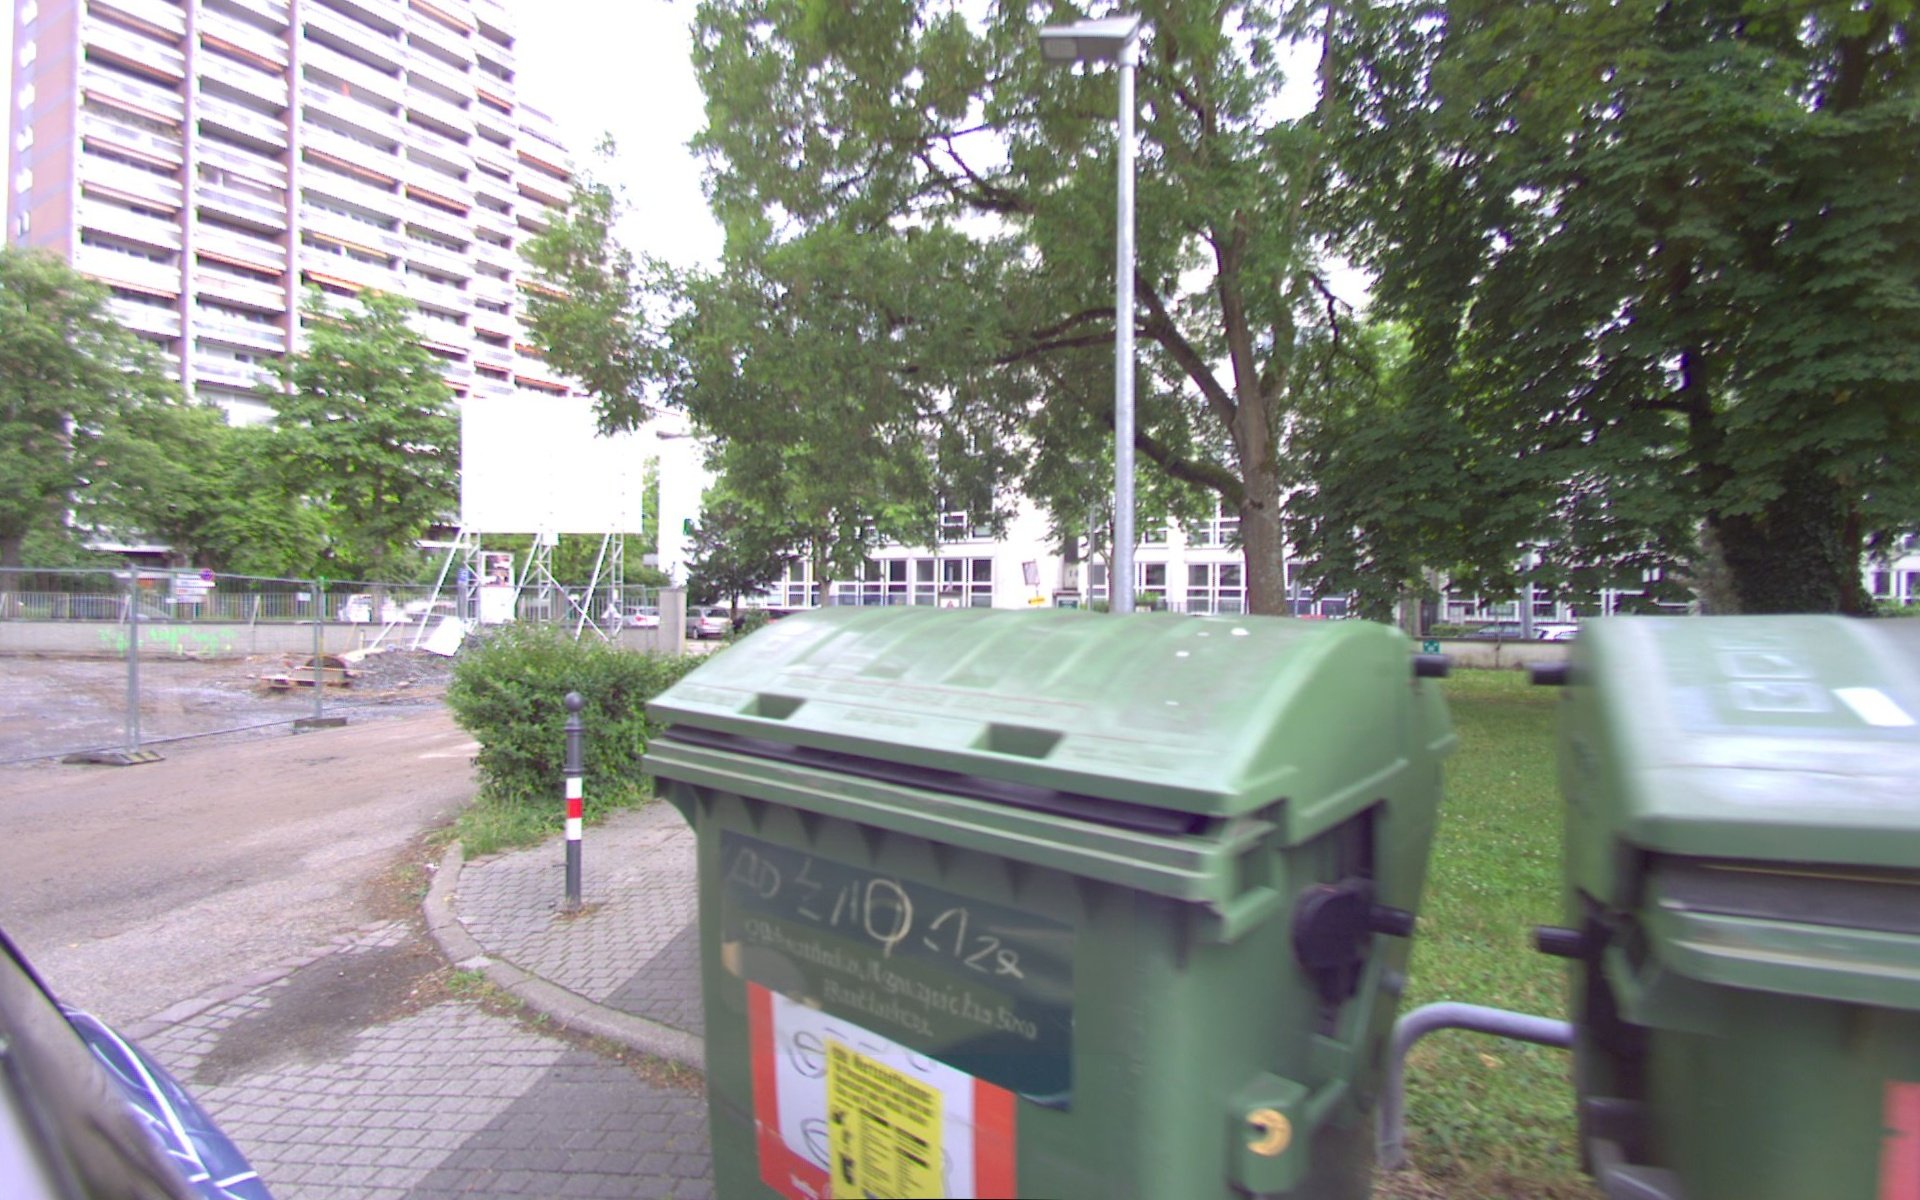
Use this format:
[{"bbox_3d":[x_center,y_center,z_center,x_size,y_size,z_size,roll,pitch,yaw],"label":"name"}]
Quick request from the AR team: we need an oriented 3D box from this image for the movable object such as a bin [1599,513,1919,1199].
[{"bbox_3d":[1.485,0.675,1.000,1.347,1.467,1.046,1,0,28],"label":"movable object such as a bin"}]

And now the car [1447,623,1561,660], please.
[{"bbox_3d":[23.269,1.760,43.395,1.673,1.362,3.976,0,1,-39],"label":"car"}]

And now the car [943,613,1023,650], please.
[{"bbox_3d":[0.985,1.366,45.686,1.671,1.495,4.041,1,1,-32],"label":"car"}]

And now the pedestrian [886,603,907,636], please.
[{"bbox_3d":[-3.167,0.966,50.764,0.752,1.623,0.727,3,1,27],"label":"pedestrian"}]

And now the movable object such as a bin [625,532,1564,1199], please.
[{"bbox_3d":[0.215,0.657,1.872,1.354,1.461,1.041,1,0,42],"label":"movable object such as a bin"}]

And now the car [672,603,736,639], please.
[{"bbox_3d":[-11.877,0.952,46.851,1.547,1.535,3.659,1,1,-38],"label":"car"}]

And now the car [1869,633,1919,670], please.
[{"bbox_3d":[39.927,2.147,41.387,1.671,1.396,3.731,1,1,-18],"label":"car"}]

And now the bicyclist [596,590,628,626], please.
[{"bbox_3d":[-14.877,0.357,43.271,1.013,1.512,0.845,1,-1,1],"label":"bicyclist"}]

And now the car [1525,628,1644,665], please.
[{"bbox_3d":[26.523,1.943,43.072,1.673,1.362,3.976,0,1,-39],"label":"car"}]

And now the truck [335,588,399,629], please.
[{"bbox_3d":[-28.866,0.382,49.199,1.968,1.862,5.074,1,0,-38],"label":"truck"}]

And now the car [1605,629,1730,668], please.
[{"bbox_3d":[29.571,2.002,42.408,1.673,1.362,3.976,0,1,-39],"label":"car"}]

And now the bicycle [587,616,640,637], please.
[{"bbox_3d":[-14.803,1.123,43.217,2.109,0.875,0.470,1,-1,2],"label":"bicycle"}]

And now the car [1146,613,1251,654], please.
[{"bbox_3d":[10.507,1.440,44.797,1.674,1.567,4.352,0,1,-42],"label":"car"}]

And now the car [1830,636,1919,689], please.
[{"bbox_3d":[25.090,1.638,26.556,3.137,1.312,1.512,0,-1,4],"label":"car"}]

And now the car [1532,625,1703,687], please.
[{"bbox_3d":[17.584,1.471,27.202,3.521,1.492,1.478,1,1,6],"label":"car"}]

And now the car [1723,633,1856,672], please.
[{"bbox_3d":[34.219,2.123,41.836,1.673,1.362,3.976,0,1,-39],"label":"car"}]

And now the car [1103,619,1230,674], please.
[{"bbox_3d":[5.922,1.337,29.321,3.390,1.472,1.676,1,-2,6],"label":"car"}]

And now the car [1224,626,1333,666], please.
[{"bbox_3d":[13.804,1.947,44.057,1.673,1.465,4.355,0,1,-39],"label":"car"}]

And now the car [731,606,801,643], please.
[{"bbox_3d":[-8.919,1.096,46.370,1.672,1.535,3.714,0,1,-38],"label":"car"}]

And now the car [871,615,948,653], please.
[{"bbox_3d":[-2.345,1.523,46.264,1.672,1.535,3.714,0,1,-38],"label":"car"}]

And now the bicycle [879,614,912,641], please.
[{"bbox_3d":[-3.210,1.374,50.452,1.581,1.278,0.404,1,-1,16],"label":"bicycle"}]

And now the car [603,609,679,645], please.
[{"bbox_3d":[-15.017,1.246,47.525,1.775,1.476,4.439,1,0,-41],"label":"car"}]
